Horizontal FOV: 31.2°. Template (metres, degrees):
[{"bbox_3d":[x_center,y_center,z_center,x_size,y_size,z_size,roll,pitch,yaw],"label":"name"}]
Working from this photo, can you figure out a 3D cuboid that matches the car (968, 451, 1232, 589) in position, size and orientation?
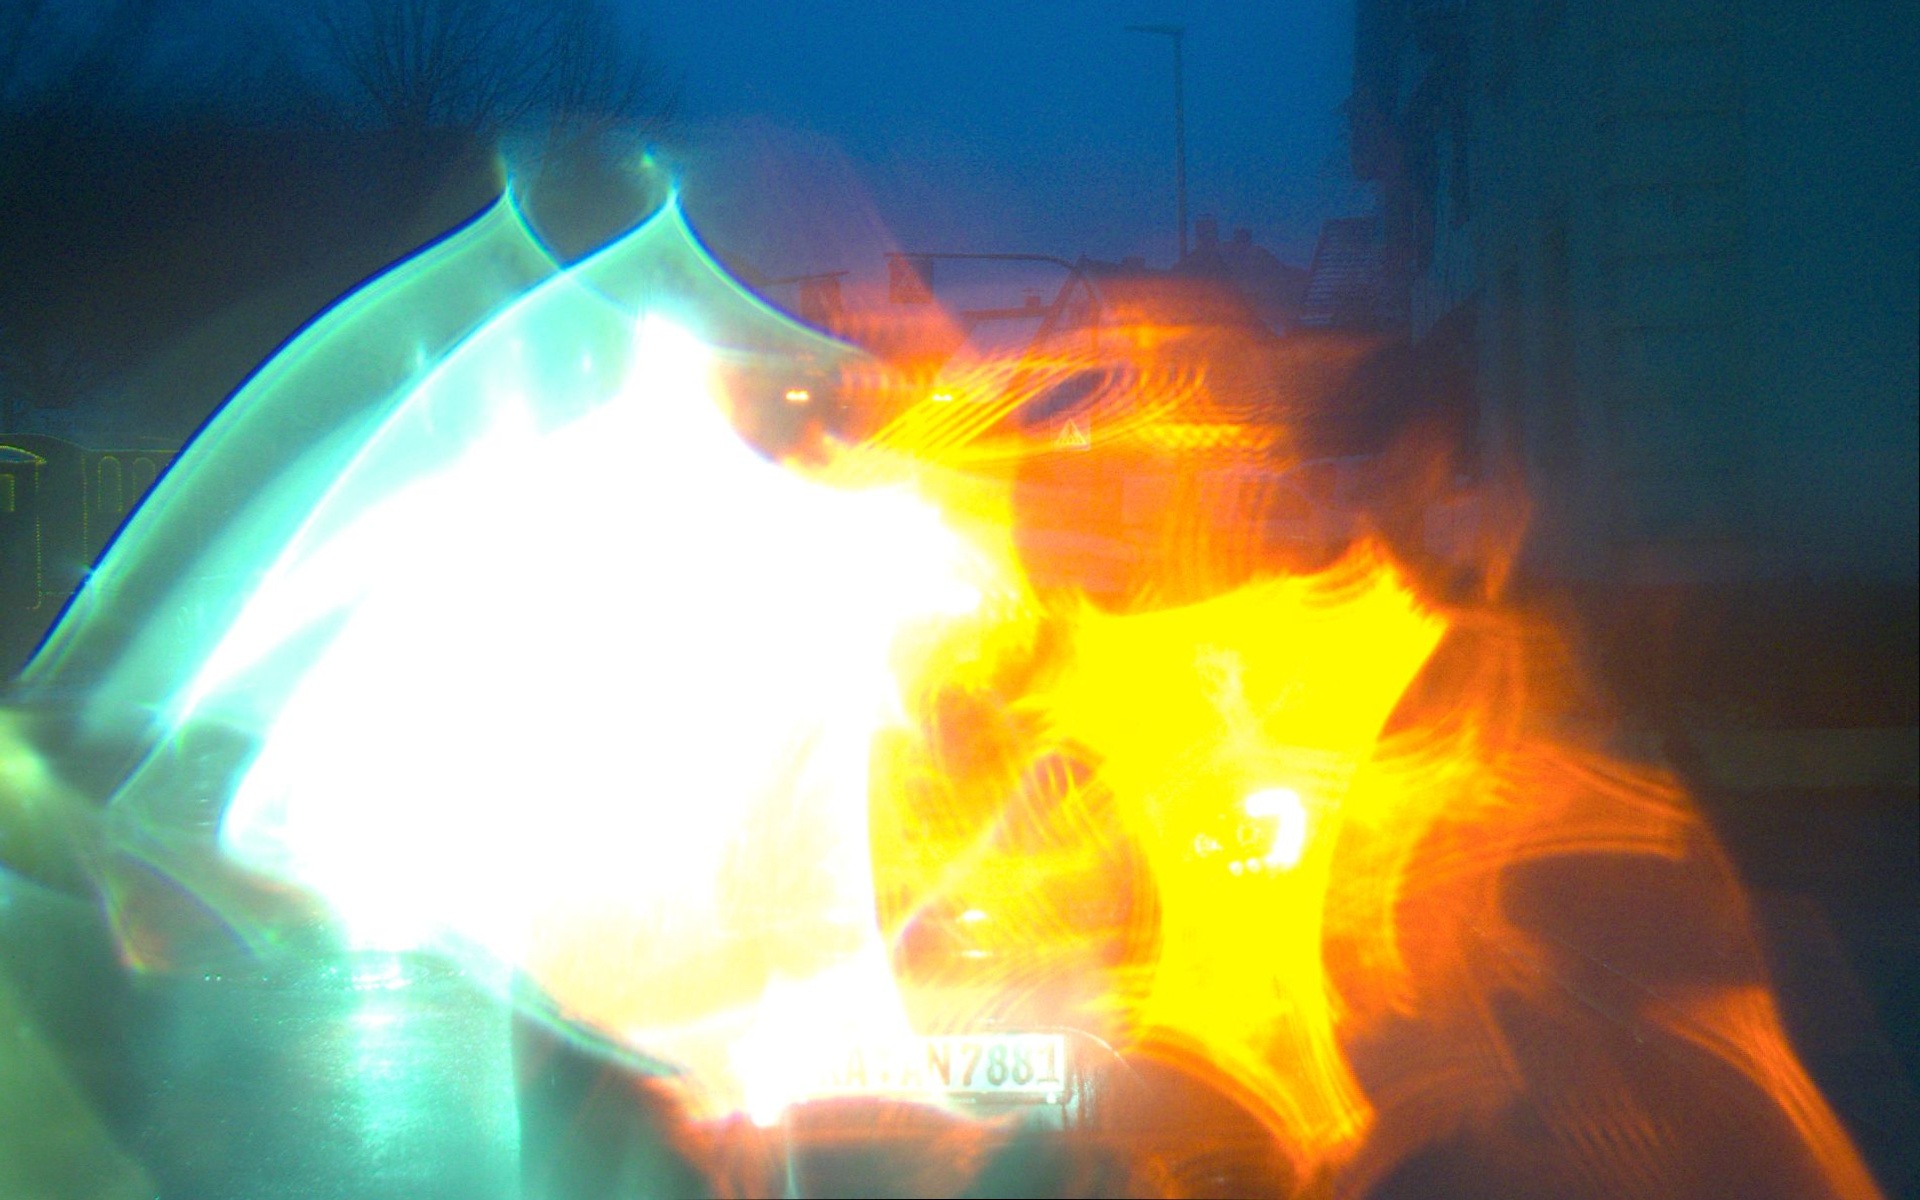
[{"bbox_3d":[2.287,-1.299,55.465,4.098,2.144,1.913,0,2,7],"label":"car"}]

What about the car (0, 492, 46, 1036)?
[{"bbox_3d":[-3.473,0.500,8.497,1.638,1.530,3.407,-1,2,-3],"label":"car"}]

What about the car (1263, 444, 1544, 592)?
[{"bbox_3d":[6.647,-1.235,51.695,4.098,2.144,1.913,0,2,7],"label":"car"}]

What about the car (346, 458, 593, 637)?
[{"bbox_3d":[-4.653,-0.544,33.189,1.810,1.590,4.400,-1,2,-1],"label":"car"}]

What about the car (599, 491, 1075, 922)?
[{"bbox_3d":[-0.490,0.315,13.474,1.638,1.476,3.272,0,2,-2],"label":"car"}]

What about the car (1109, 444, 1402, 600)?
[{"bbox_3d":[4.262,-1.121,49.407,4.098,2.155,1.913,0,2,7],"label":"car"}]

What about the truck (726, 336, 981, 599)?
[{"bbox_3d":[-1.528,-1.691,44.837,3.015,3.118,8.002,0,2,-4],"label":"truck"}]

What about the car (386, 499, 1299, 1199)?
[{"bbox_3d":[-0.228,0.518,7.868,1.638,1.476,3.379,0,1,-1],"label":"car"}]
